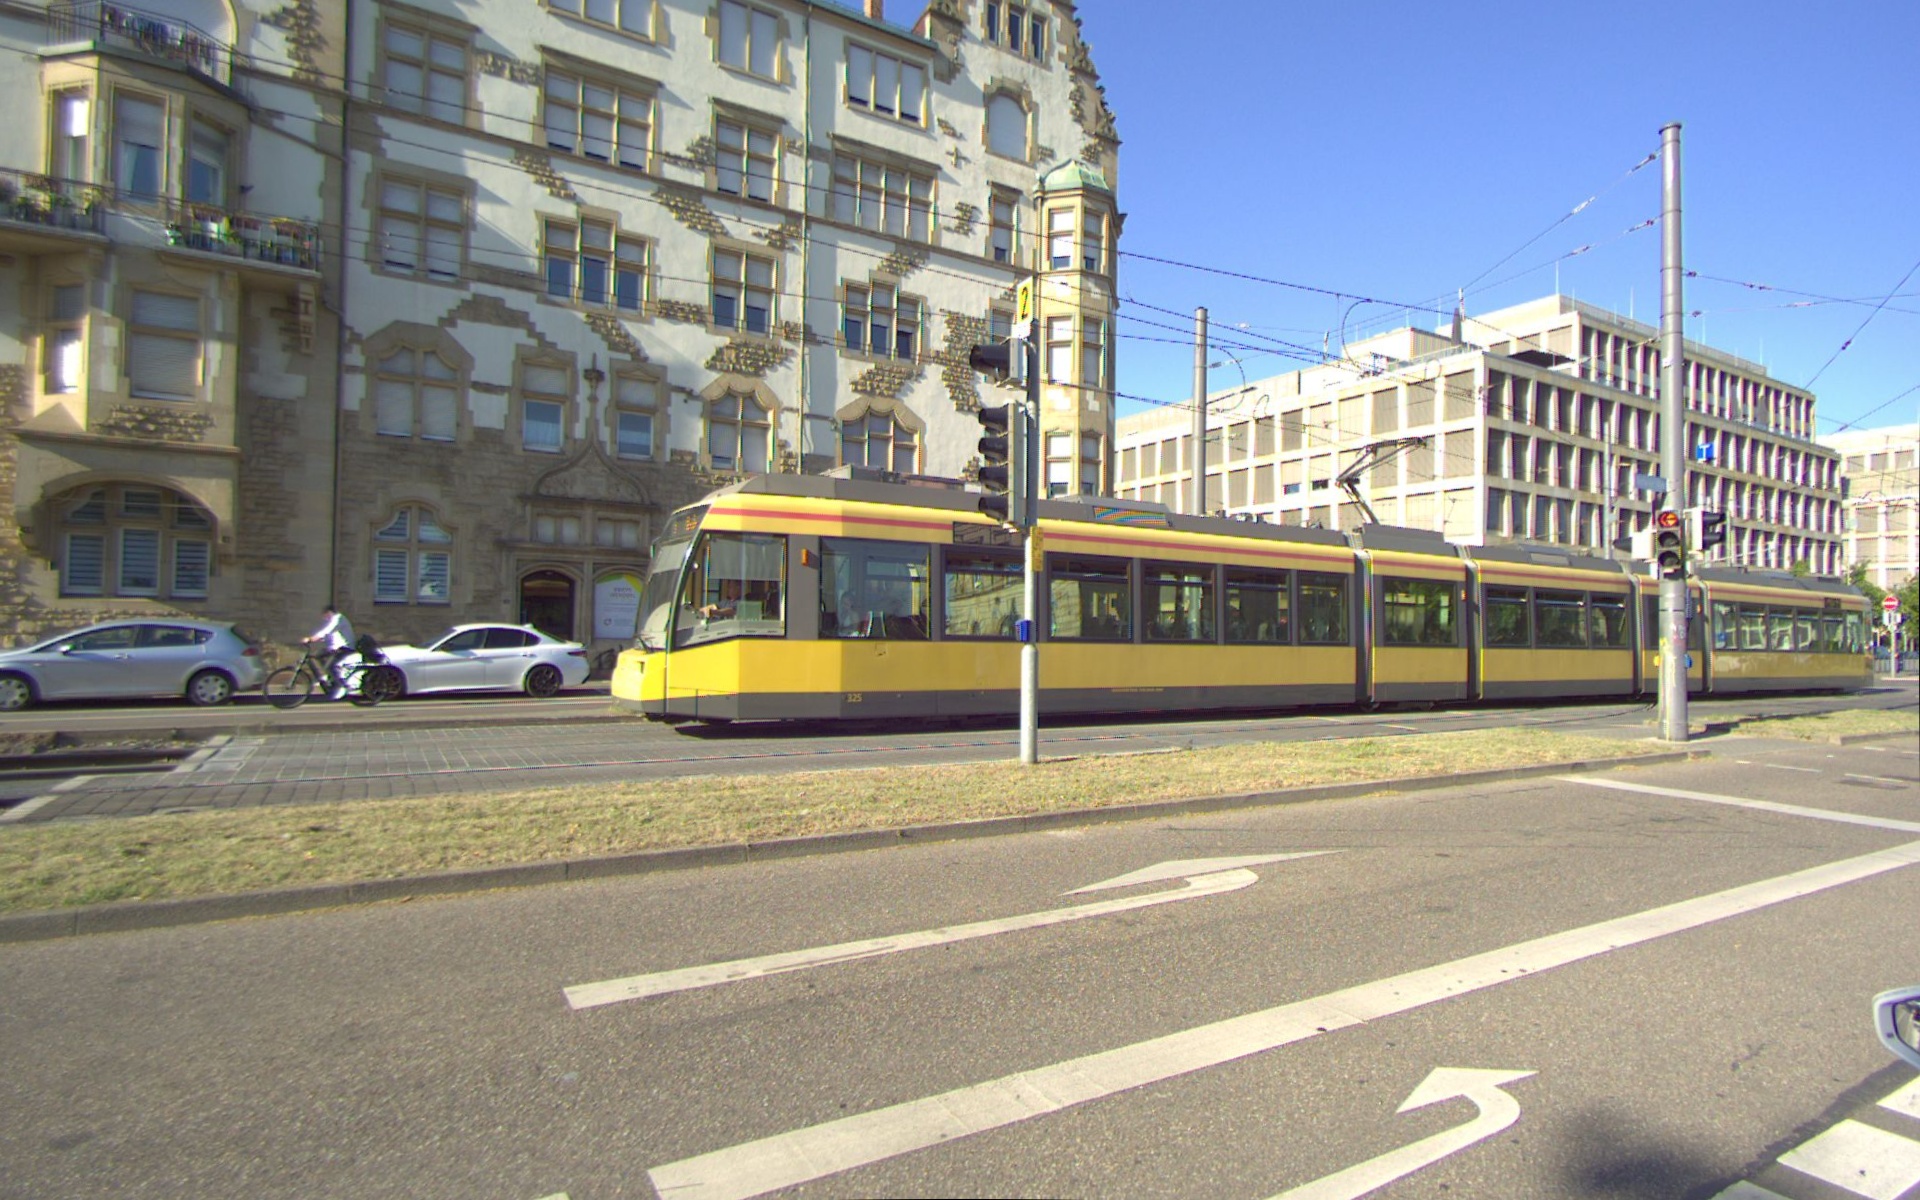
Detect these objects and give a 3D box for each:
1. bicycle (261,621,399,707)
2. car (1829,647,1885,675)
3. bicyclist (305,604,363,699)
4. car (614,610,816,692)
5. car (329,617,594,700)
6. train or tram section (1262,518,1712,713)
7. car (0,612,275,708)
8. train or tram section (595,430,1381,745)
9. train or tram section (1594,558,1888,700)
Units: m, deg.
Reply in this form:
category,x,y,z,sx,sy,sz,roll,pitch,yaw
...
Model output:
category,x,y,z,sx,sy,sz,roll,pitch,yaw
bicycle,-10.704,1.081,17.163,1.924,1.400,0.681,2,-2,-30
car,62.000,4.225,69.391,4.068,1.836,1.832,2,-2,-32
bicyclist,-10.691,0.874,17.176,0.776,1.583,0.682,2,-2,-30
car,-5.589,1.146,23.092,4.172,1.698,1.707,2,0,-33
car,-9.953,1.133,20.195,4.606,1.442,1.707,2,0,-33
train or tram section,12.450,0.507,22.793,13.055,3.535,2.798,2,-2,-32
car,-14.288,0.987,17.192,4.179,1.450,1.699,2,0,-34
train or tram section,1.328,0.087,15.903,13.055,3.535,2.798,2,-2,-32
train or tram section,23.117,0.933,29.372,12.017,3.535,2.798,2,-2,-32
